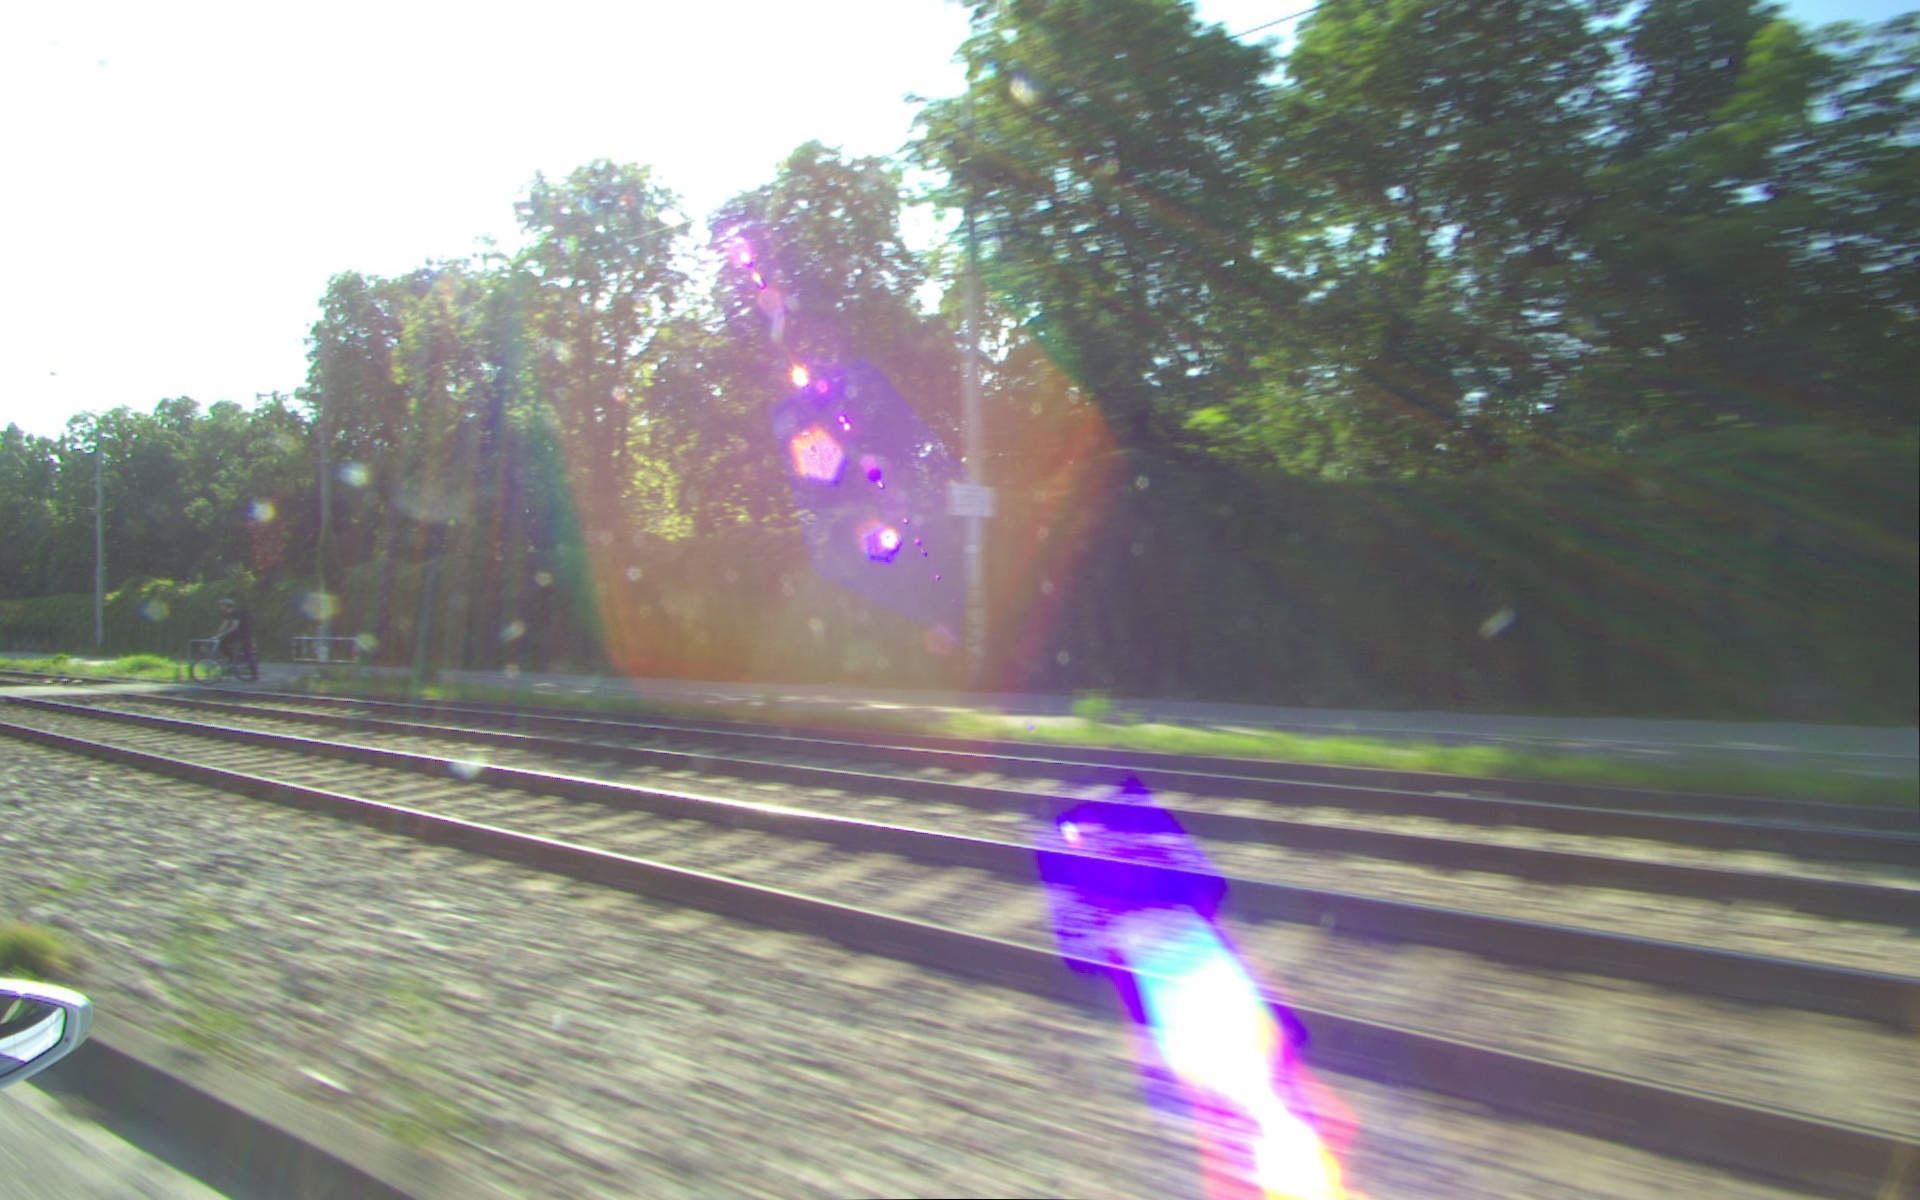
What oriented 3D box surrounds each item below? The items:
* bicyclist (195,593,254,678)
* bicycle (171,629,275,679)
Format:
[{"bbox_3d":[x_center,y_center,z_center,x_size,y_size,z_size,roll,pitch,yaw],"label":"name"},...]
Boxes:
[{"bbox_3d":[-17.877,0.845,24.371,1.021,2.020,0.943,-1,0,-29],"label":"bicyclist"},{"bbox_3d":[-17.892,1.295,24.365,1.899,1.130,0.943,-1,0,-29],"label":"bicycle"}]
